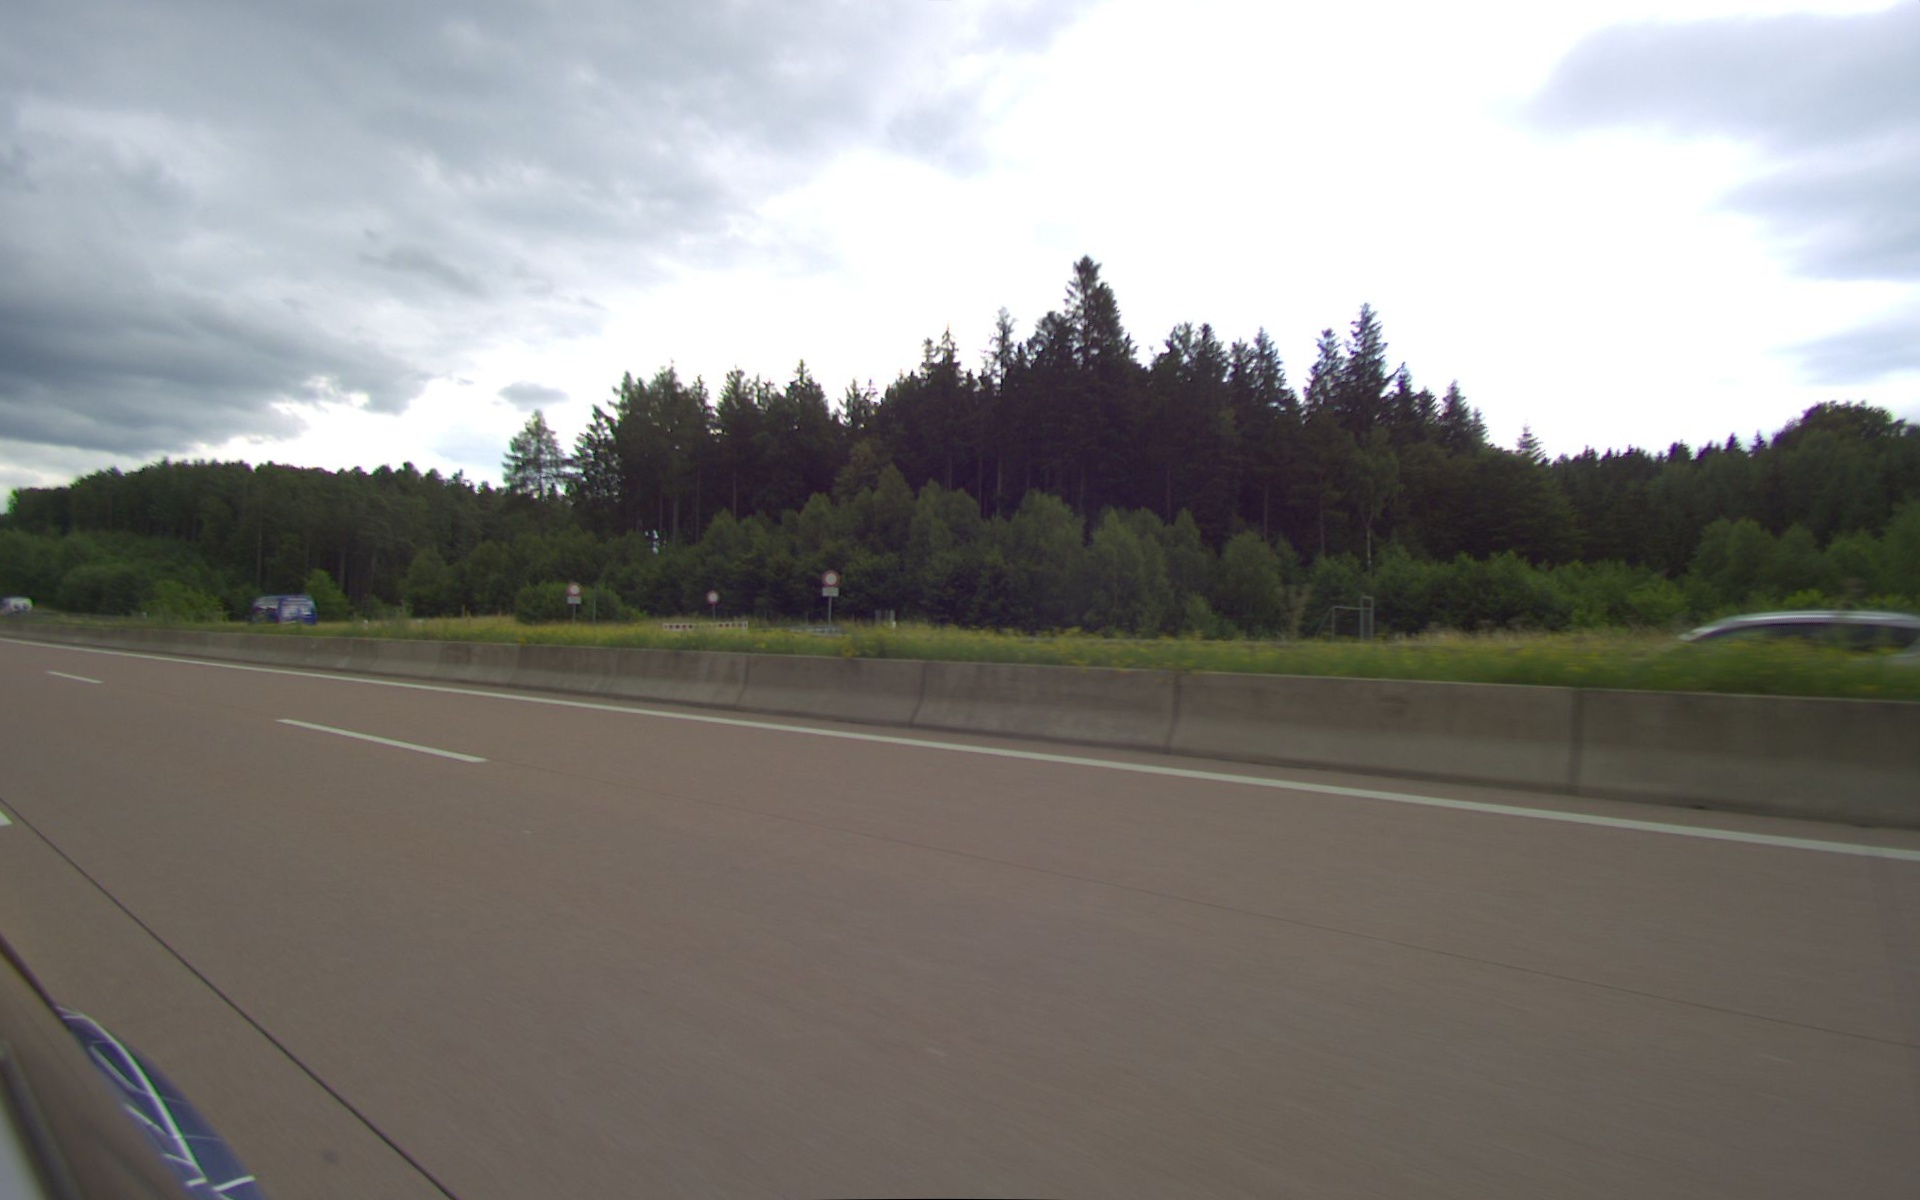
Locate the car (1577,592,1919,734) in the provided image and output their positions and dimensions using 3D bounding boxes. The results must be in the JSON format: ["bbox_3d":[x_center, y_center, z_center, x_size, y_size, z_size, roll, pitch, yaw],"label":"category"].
[{"bbox_3d":[9.177,0.651,11.454,3.552,1.413,1.509,-1,-1,41],"label":"car"}]

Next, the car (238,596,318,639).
[{"bbox_3d":[-37.189,0.948,55.100,6.034,2.259,1.974,-1,0,39],"label":"car"}]

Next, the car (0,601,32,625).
[{"bbox_3d":[-110.210,1.450,117.542,7.320,2.629,2.436,0,1,38],"label":"car"}]
